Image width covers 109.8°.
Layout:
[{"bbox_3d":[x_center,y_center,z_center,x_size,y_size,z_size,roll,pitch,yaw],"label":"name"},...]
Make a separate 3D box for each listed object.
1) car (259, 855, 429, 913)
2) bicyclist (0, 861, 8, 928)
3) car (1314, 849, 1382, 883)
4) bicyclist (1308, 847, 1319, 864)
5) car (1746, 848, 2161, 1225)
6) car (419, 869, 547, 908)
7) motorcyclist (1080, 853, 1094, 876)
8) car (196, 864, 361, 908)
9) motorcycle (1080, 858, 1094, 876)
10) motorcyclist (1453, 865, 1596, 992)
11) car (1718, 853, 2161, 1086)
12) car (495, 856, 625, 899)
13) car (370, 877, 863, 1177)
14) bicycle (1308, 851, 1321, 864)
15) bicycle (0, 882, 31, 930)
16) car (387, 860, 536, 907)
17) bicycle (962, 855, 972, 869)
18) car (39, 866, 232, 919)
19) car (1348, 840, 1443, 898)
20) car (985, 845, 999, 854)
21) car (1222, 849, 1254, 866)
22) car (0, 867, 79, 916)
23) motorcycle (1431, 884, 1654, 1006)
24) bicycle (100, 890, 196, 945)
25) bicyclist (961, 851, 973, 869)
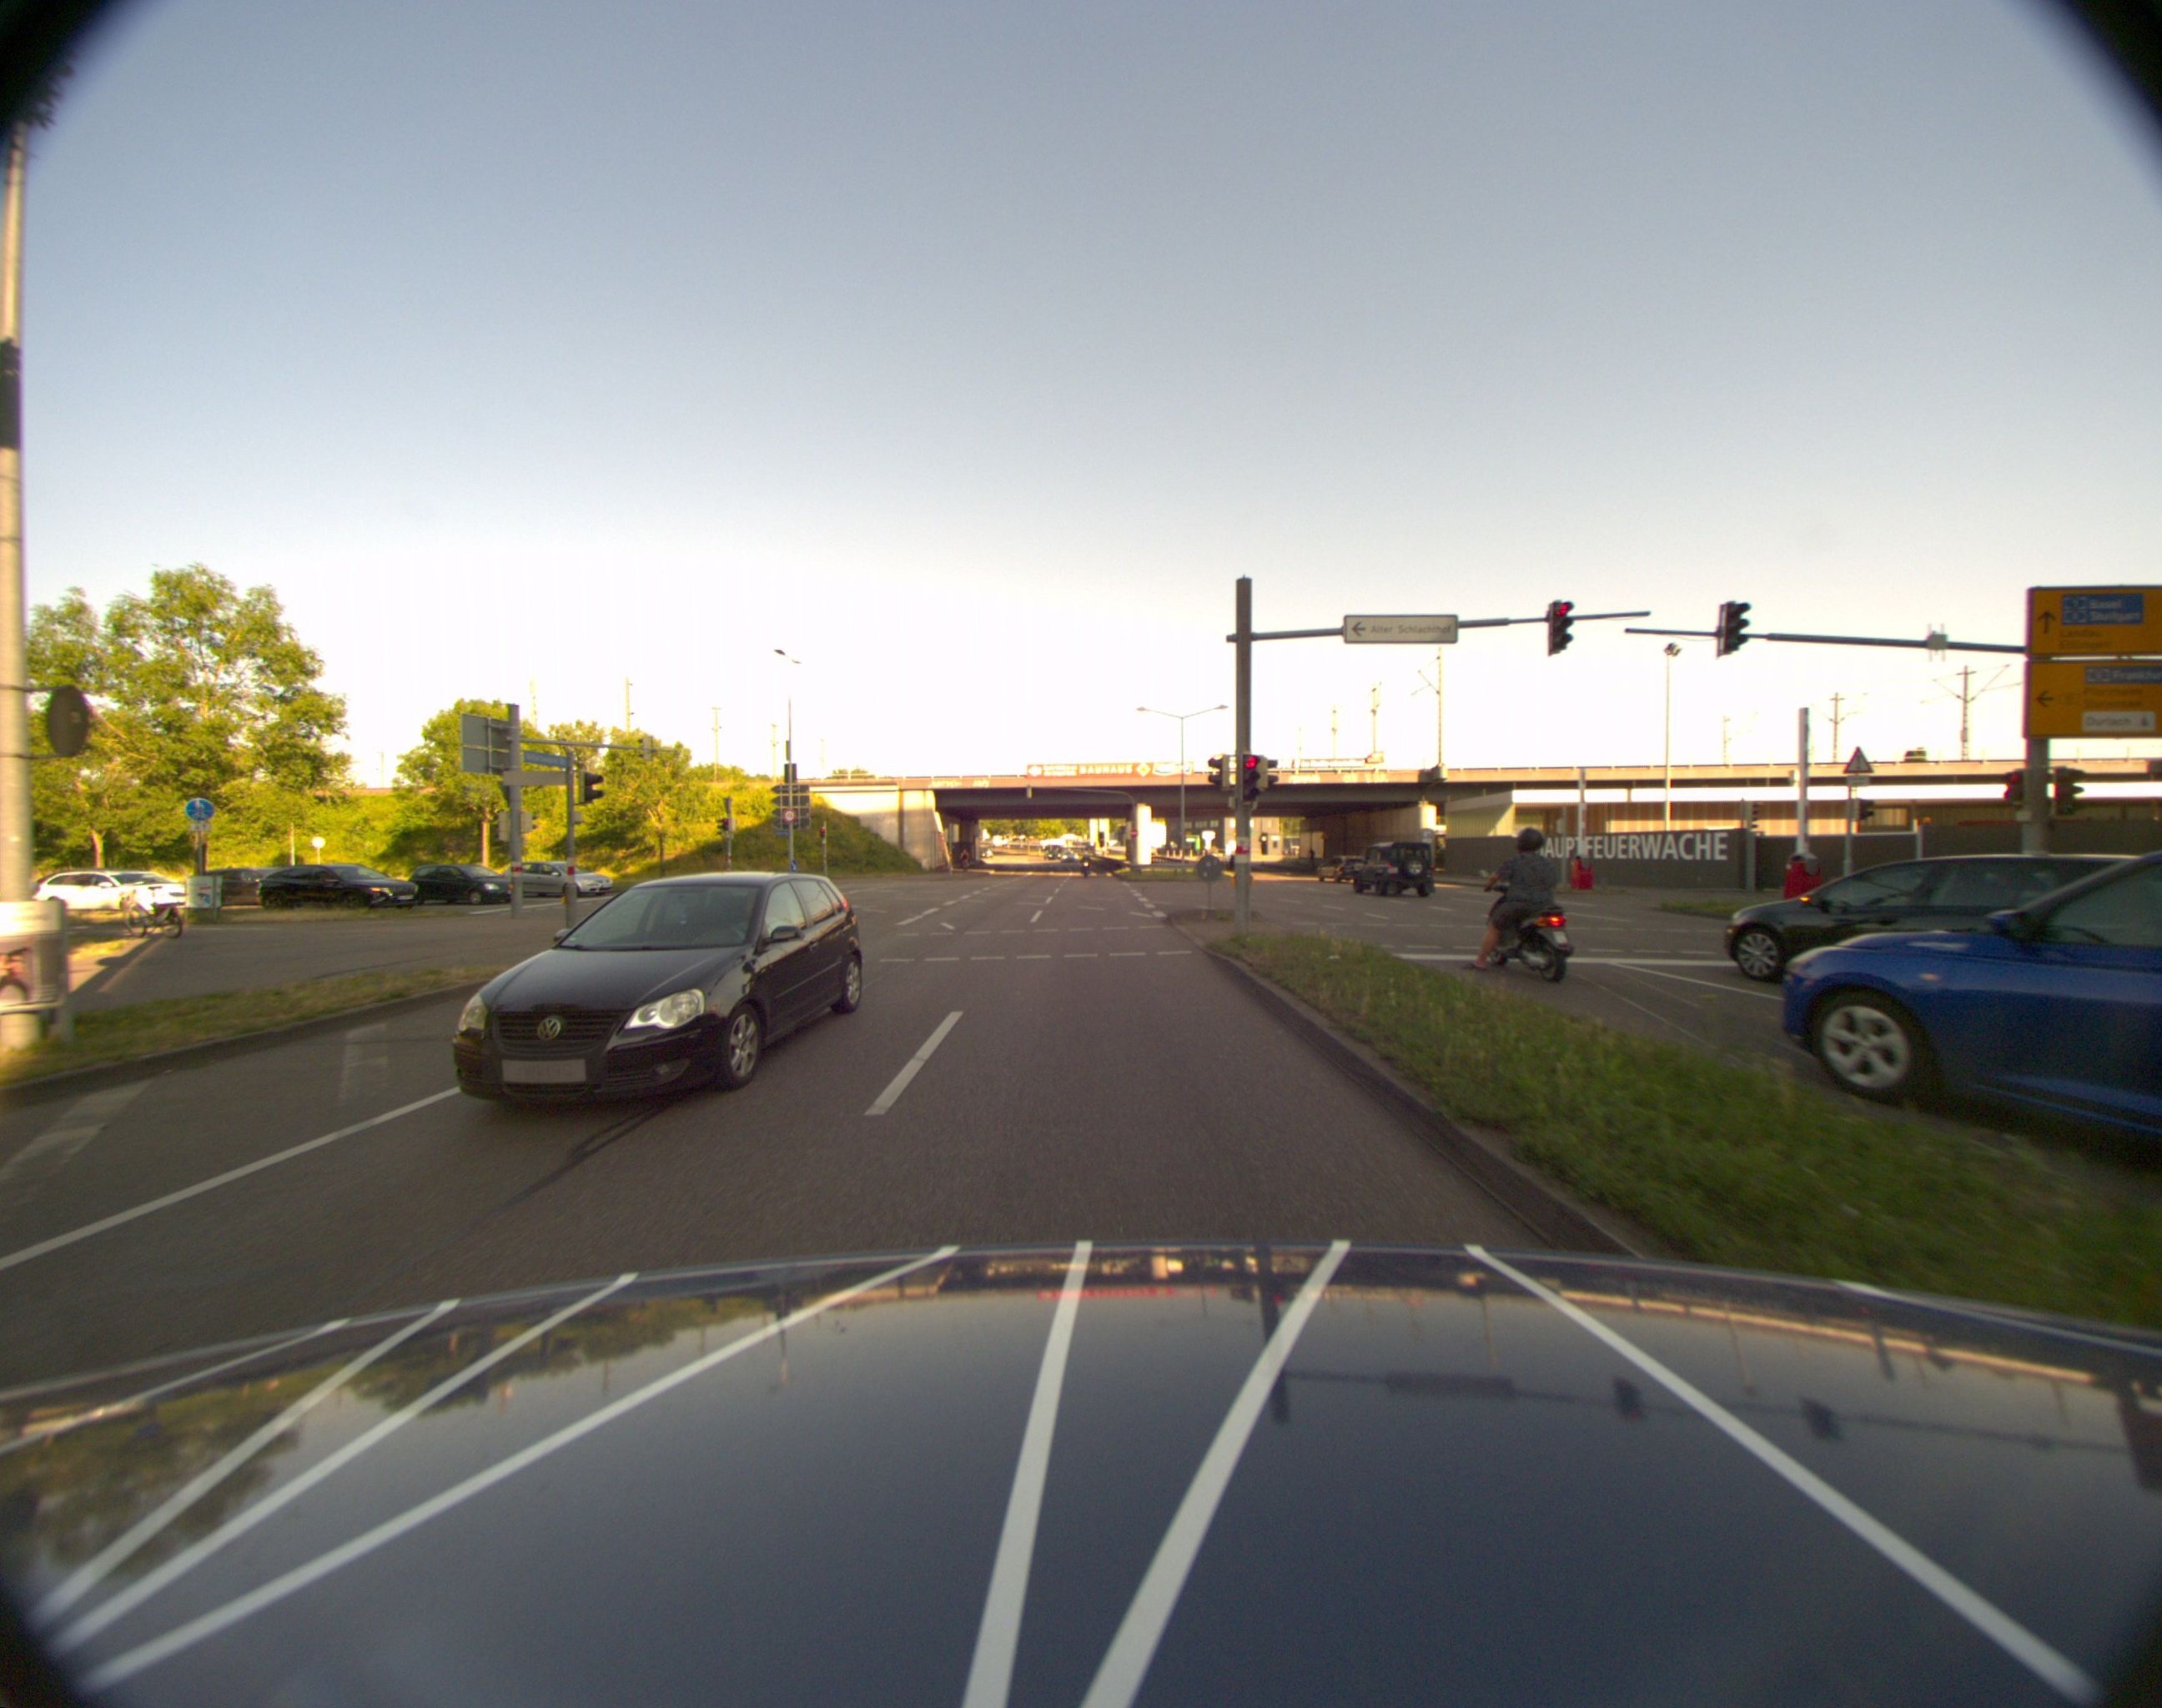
[{"bbox_3d":[-24.370,0.978,25.210,3.995,1.684,1.863,-2,2,7],"label":"car"},{"bbox_3d":[-26.047,0.992,17.703,0.859,1.586,0.793,-2,2,0],"label":"bicyclist"},{"bbox_3d":[14.863,0.630,42.542,1.999,1.583,4.713,3,1,-1],"label":"car"},{"bbox_3d":[21.855,0.106,71.367,0.725,1.555,0.939,-2,2,5],"label":"bicyclist"},{"bbox_3d":[5.110,0.775,2.892,1.706,1.444,3.857,3,1,0],"label":"car"},{"bbox_3d":[-27.257,1.554,34.738,4.336,1.559,2.041,-2,2,7],"label":"car"},{"bbox_3d":[0.376,0.684,49.637,0.839,1.434,0.878,-2,2,1],"label":"motorcyclist"},{"bbox_3d":[-30.290,1.190,28.752,4.336,1.399,2.041,-2,2,7],"label":"car"},{"bbox_3d":[0.395,0.864,49.772,0.811,1.040,2.352,-2,2,1],"label":"motorcycle"},{"bbox_3d":[5.045,0.803,8.735,0.799,1.341,1.274,1,-1,-6],"label":"motorcyclist"},{"bbox_3d":[8.582,0.819,6.979,1.999,1.467,4.079,-2,2,-1],"label":"car"},{"bbox_3d":[-21.335,0.944,31.213,3.996,1.521,1.890,-2,2,2],"label":"car"},{"bbox_3d":[-3.072,1.007,6.021,1.621,1.402,3.681,-2,2,-1],"label":"car"},{"bbox_3d":[21.871,0.299,71.268,0.706,1.149,2.081,-2,0,5],"label":"bicycle"},{"bbox_3d":[-26.108,1.254,17.713,2.018,1.106,0.821,-2,2,0],"label":"bicycle"},{"bbox_3d":[-22.936,1.066,28.214,3.995,1.521,2.000,-2,2,7],"label":"car"},{"bbox_3d":[-9.238,0.664,61.625,0.783,1.051,2.494,-2,2,-7],"label":"bicycle"},{"bbox_3d":[-32.031,1.285,25.814,4.336,1.559,2.041,-2,2,7],"label":"car"},{"bbox_3d":[11.754,0.537,28.683,1.799,1.967,3.993,3,0,-1],"label":"car"},{"bbox_3d":[-14.854,-0.763,126.057,1.878,1.431,3.678,-2,2,-13],"label":"car"},{"bbox_3d":[14.857,0.315,72.205,1.999,1.393,4.347,3,1,-1],"label":"car"},{"bbox_3d":[-38.267,1.342,26.485,4.336,1.559,2.041,-2,2,7],"label":"car"},{"bbox_3d":[5.052,0.938,8.598,0.842,1.069,2.399,2,0,-6],"label":"motorcycle"},{"bbox_3d":[-18.071,1.218,14.719,1.664,0.985,0.579,0,-1,17],"label":"bicycle"},{"bbox_3d":[-9.225,0.506,61.617,0.843,1.413,1.113,-2,2,-8],"label":"bicyclist"}]
